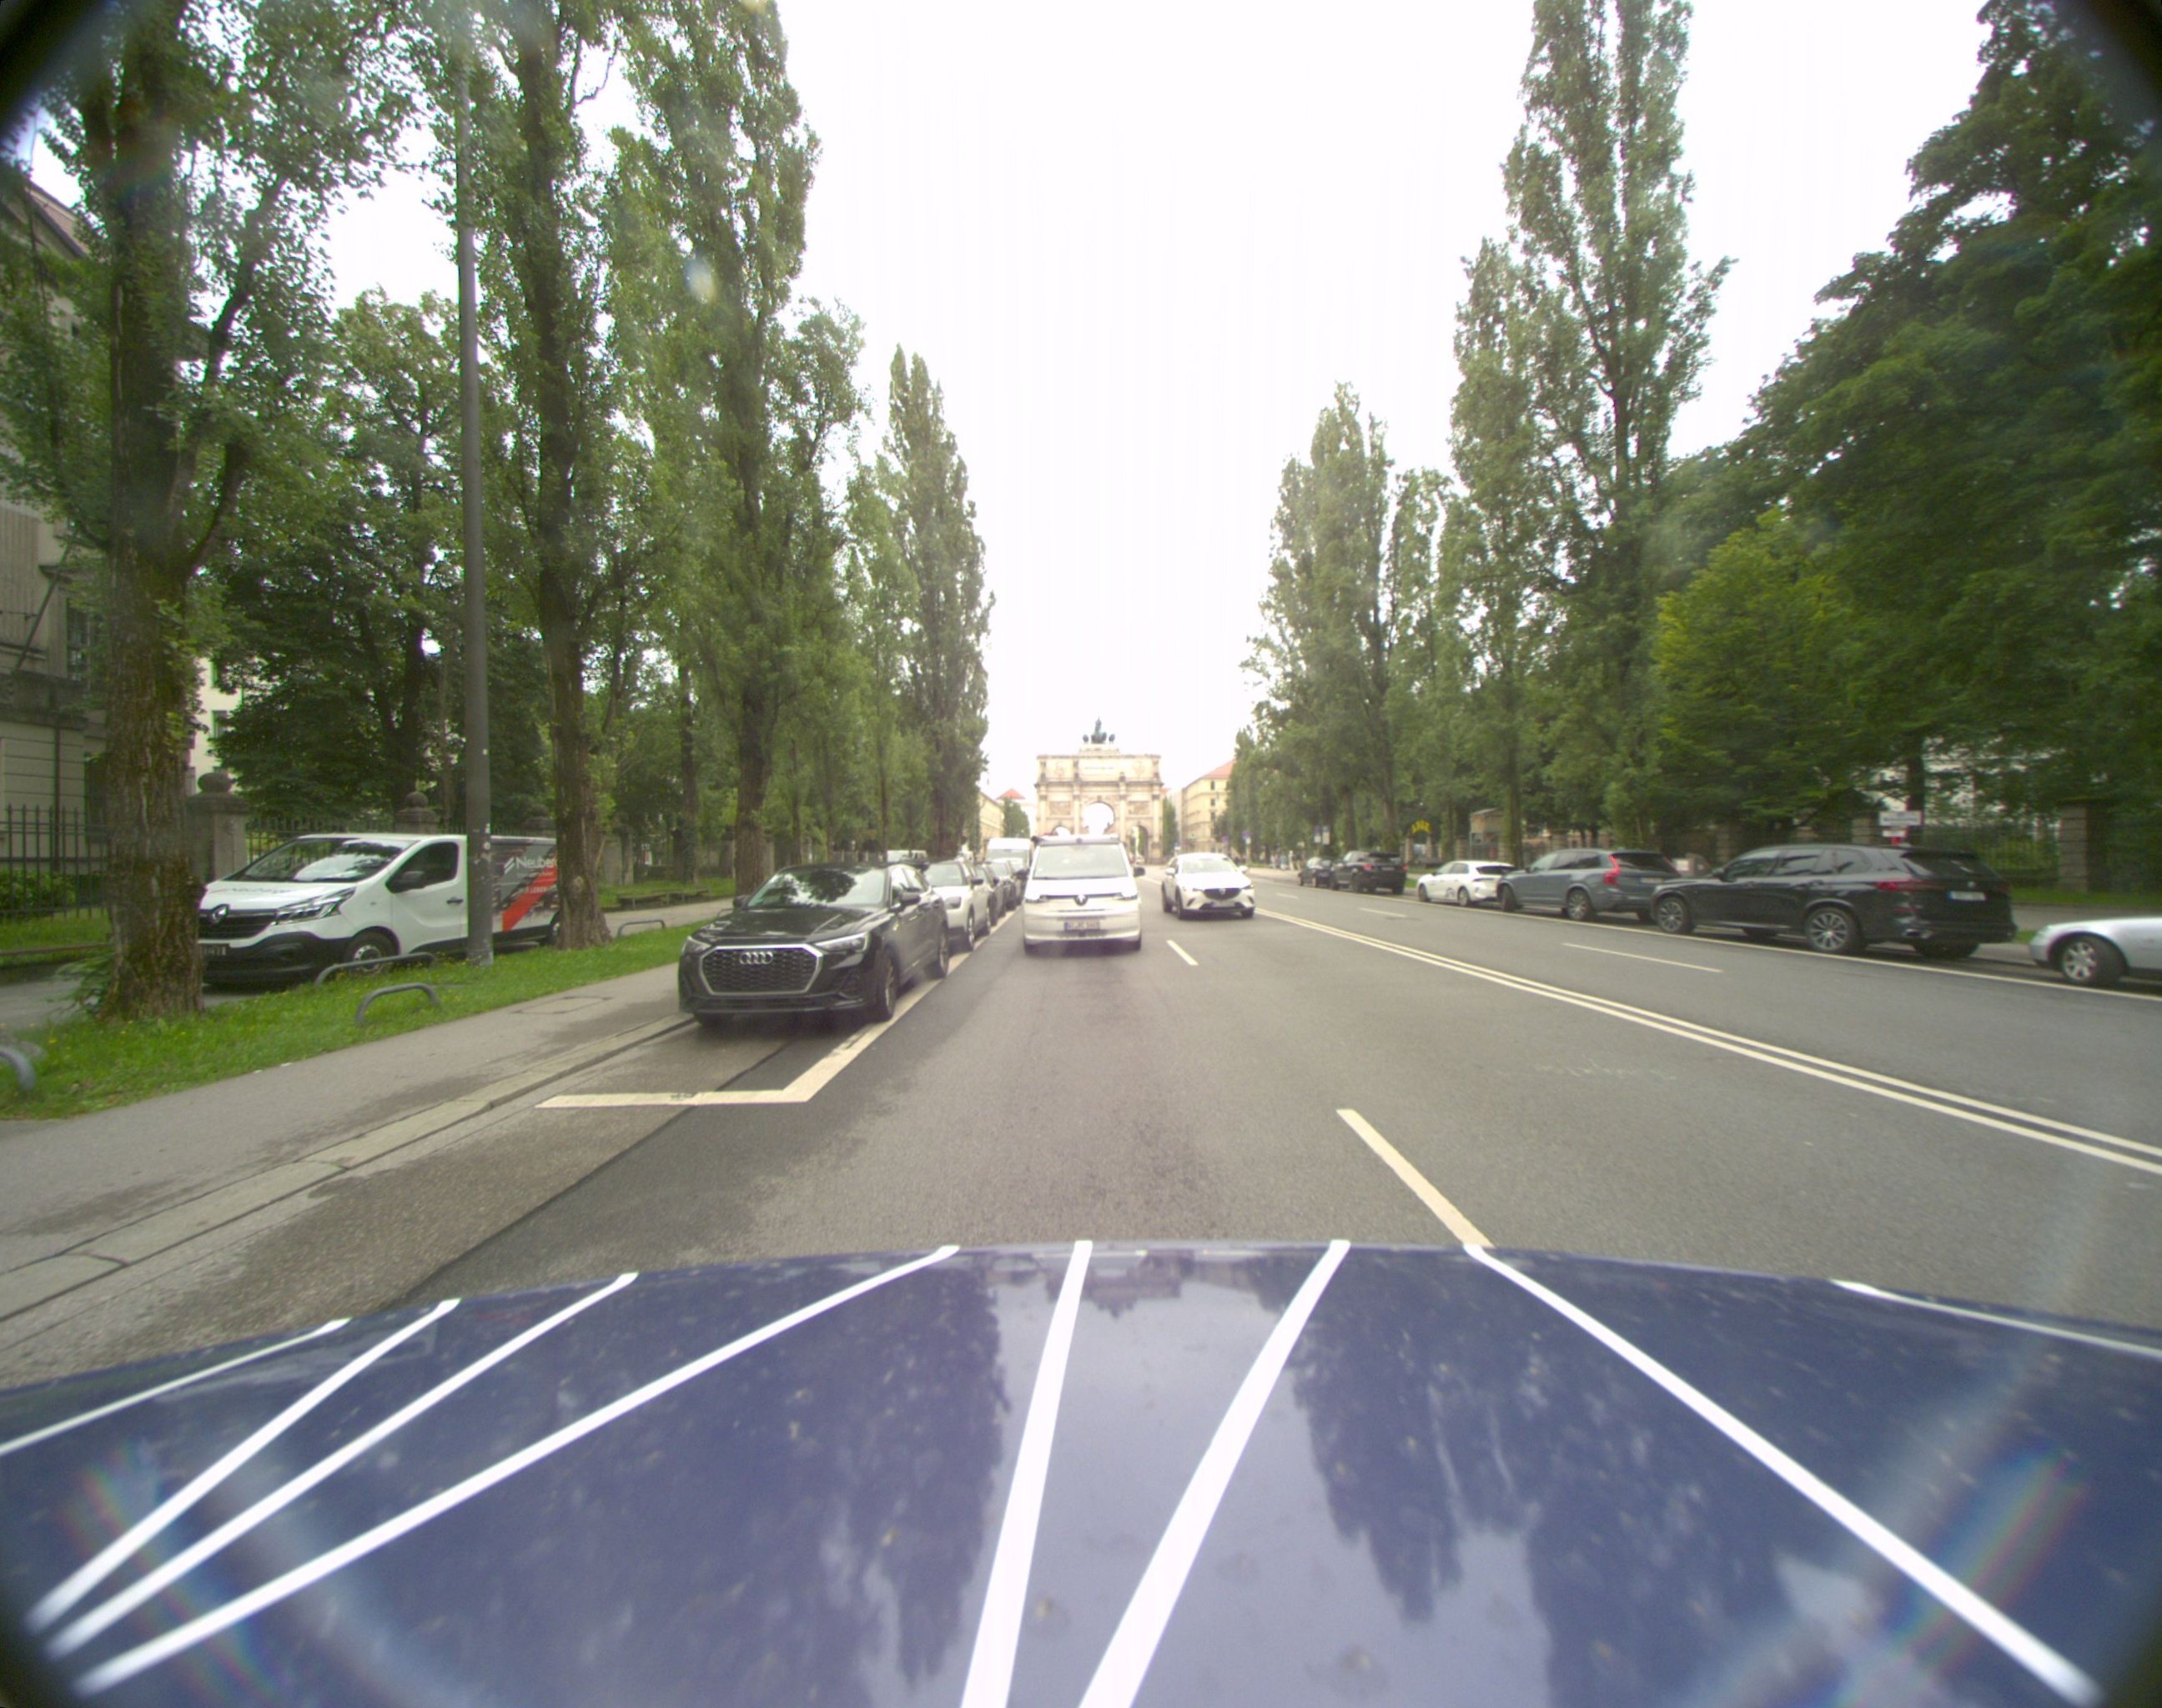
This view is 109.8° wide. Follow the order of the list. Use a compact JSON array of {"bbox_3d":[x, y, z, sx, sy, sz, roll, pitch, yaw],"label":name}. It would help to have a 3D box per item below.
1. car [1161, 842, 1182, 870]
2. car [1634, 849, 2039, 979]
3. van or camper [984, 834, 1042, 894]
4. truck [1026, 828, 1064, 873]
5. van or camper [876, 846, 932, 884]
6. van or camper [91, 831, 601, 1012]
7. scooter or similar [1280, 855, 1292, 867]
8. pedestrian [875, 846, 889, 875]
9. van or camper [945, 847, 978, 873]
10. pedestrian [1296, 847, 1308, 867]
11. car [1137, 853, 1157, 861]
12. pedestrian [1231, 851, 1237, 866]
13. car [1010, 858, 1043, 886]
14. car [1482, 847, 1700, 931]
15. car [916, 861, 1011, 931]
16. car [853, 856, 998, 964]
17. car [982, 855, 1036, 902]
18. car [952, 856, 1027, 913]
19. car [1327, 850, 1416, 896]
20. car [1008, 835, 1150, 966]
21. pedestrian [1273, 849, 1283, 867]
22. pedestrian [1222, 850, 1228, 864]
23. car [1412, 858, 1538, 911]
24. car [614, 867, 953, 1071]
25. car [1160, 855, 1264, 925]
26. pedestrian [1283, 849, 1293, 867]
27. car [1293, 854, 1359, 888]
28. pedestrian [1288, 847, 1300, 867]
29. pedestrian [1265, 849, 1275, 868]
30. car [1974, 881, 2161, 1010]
[{"bbox_3d":[10.761,0.172,90.710,1.797,1.334,4.450,5,26,-4],"label":"car"},{"bbox_3d":[12.336,0.830,13.053,1.946,1.757,4.894,2,0,-2],"label":"car"},{"bbox_3d":[-3.062,0.417,35.790,2.144,2.525,6.416,-1,0,0],"label":"van or camper"},{"bbox_3d":[-2.999,-0.245,65.704,2.852,3.543,10.277,-1,0,-1],"label":"truck"},{"bbox_3d":[-9.910,0.588,42.876,1.980,1.922,5.037,-2,0,-1],"label":"van or camper"},{"bbox_3d":[-9.718,0.745,10.987,2.081,1.922,5.368,-2,0,0],"label":"van or camper"},{"bbox_3d":[21.215,0.704,78.694,0.747,1.171,1.415,1,0,-5],"label":"scooter or similar"},{"bbox_3d":[-14.076,0.444,53.783,0.905,2.002,0.956,0,1,-16],"label":"pedestrian"},{"bbox_3d":[-9.745,0.500,62.363,2.009,2.002,4.985,-2,0,-2],"label":"van or camper"},{"bbox_3d":[19.914,0.282,68.519,0.711,1.762,1.092,0,1,-1],"label":"pedestrian"},{"bbox_3d":[14.038,0.594,160.874,2.004,1.739,3.989,-1,0,-40],"label":"car"},{"bbox_3d":[17.802,0.554,88.430,0.533,1.720,0.583,-1,0,-11],"label":"pedestrian"},{"bbox_3d":[-2.995,0.967,42.491,1.680,1.412,3.999,-1,0,-2],"label":"car"},{"bbox_3d":[12.472,0.760,19.132,1.914,1.779,5.179,2,0,-1],"label":"car"},{"bbox_3d":[-2.797,0.960,19.014,1.707,1.511,4.295,-1,0,0],"label":"car"},{"bbox_3d":[-2.655,0.875,14.082,1.747,1.665,4.579,-1,0,0],"label":"car"},{"bbox_3d":[-2.690,0.878,29.155,1.789,1.639,4.417,-1,0,-2],"label":"car"},{"bbox_3d":[-2.775,0.878,23.910,1.788,1.608,4.637,-1,0,0],"label":"car"},{"bbox_3d":[12.358,0.734,32.728,2.051,1.776,4.800,2,0,2],"label":"car"},{"bbox_3d":[-0.008,0.685,14.199,2.064,1.916,5.728,-1,0,0],"label":"car"},{"bbox_3d":[18.357,0.398,70.774,0.689,1.690,0.885,0,0,-1],"label":"pedestrian"},{"bbox_3d":[17.671,0.394,93.317,0.533,1.720,0.583,-1,0,-11],"label":"pedestrian"},{"bbox_3d":[12.363,0.895,24.193,1.708,1.450,4.272,2,0,-1],"label":"car"},{"bbox_3d":[-2.733,0.954,8.260,1.885,1.531,4.464,-1,0,0],"label":"car"},{"bbox_3d":[3.114,0.806,18.832,1.910,1.516,4.009,-1,0,1],"label":"car"},{"bbox_3d":[19.229,0.392,70.644,0.661,1.706,0.911,0,0,-1],"label":"pedestrian"},{"bbox_3d":[12.481,0.826,39.016,1.949,1.574,4.388,1,0,0],"label":"car"},{"bbox_3d":[19.180,0.287,68.483,0.711,1.823,1.092,0,1,-1],"label":"pedestrian"},{"bbox_3d":[17.611,0.386,70.844,0.631,1.737,0.908,0,0,-1],"label":"pedestrian"},{"bbox_3d":[12.552,1.047,7.756,1.831,1.326,4.233,2,0,-1],"label":"car"}]
